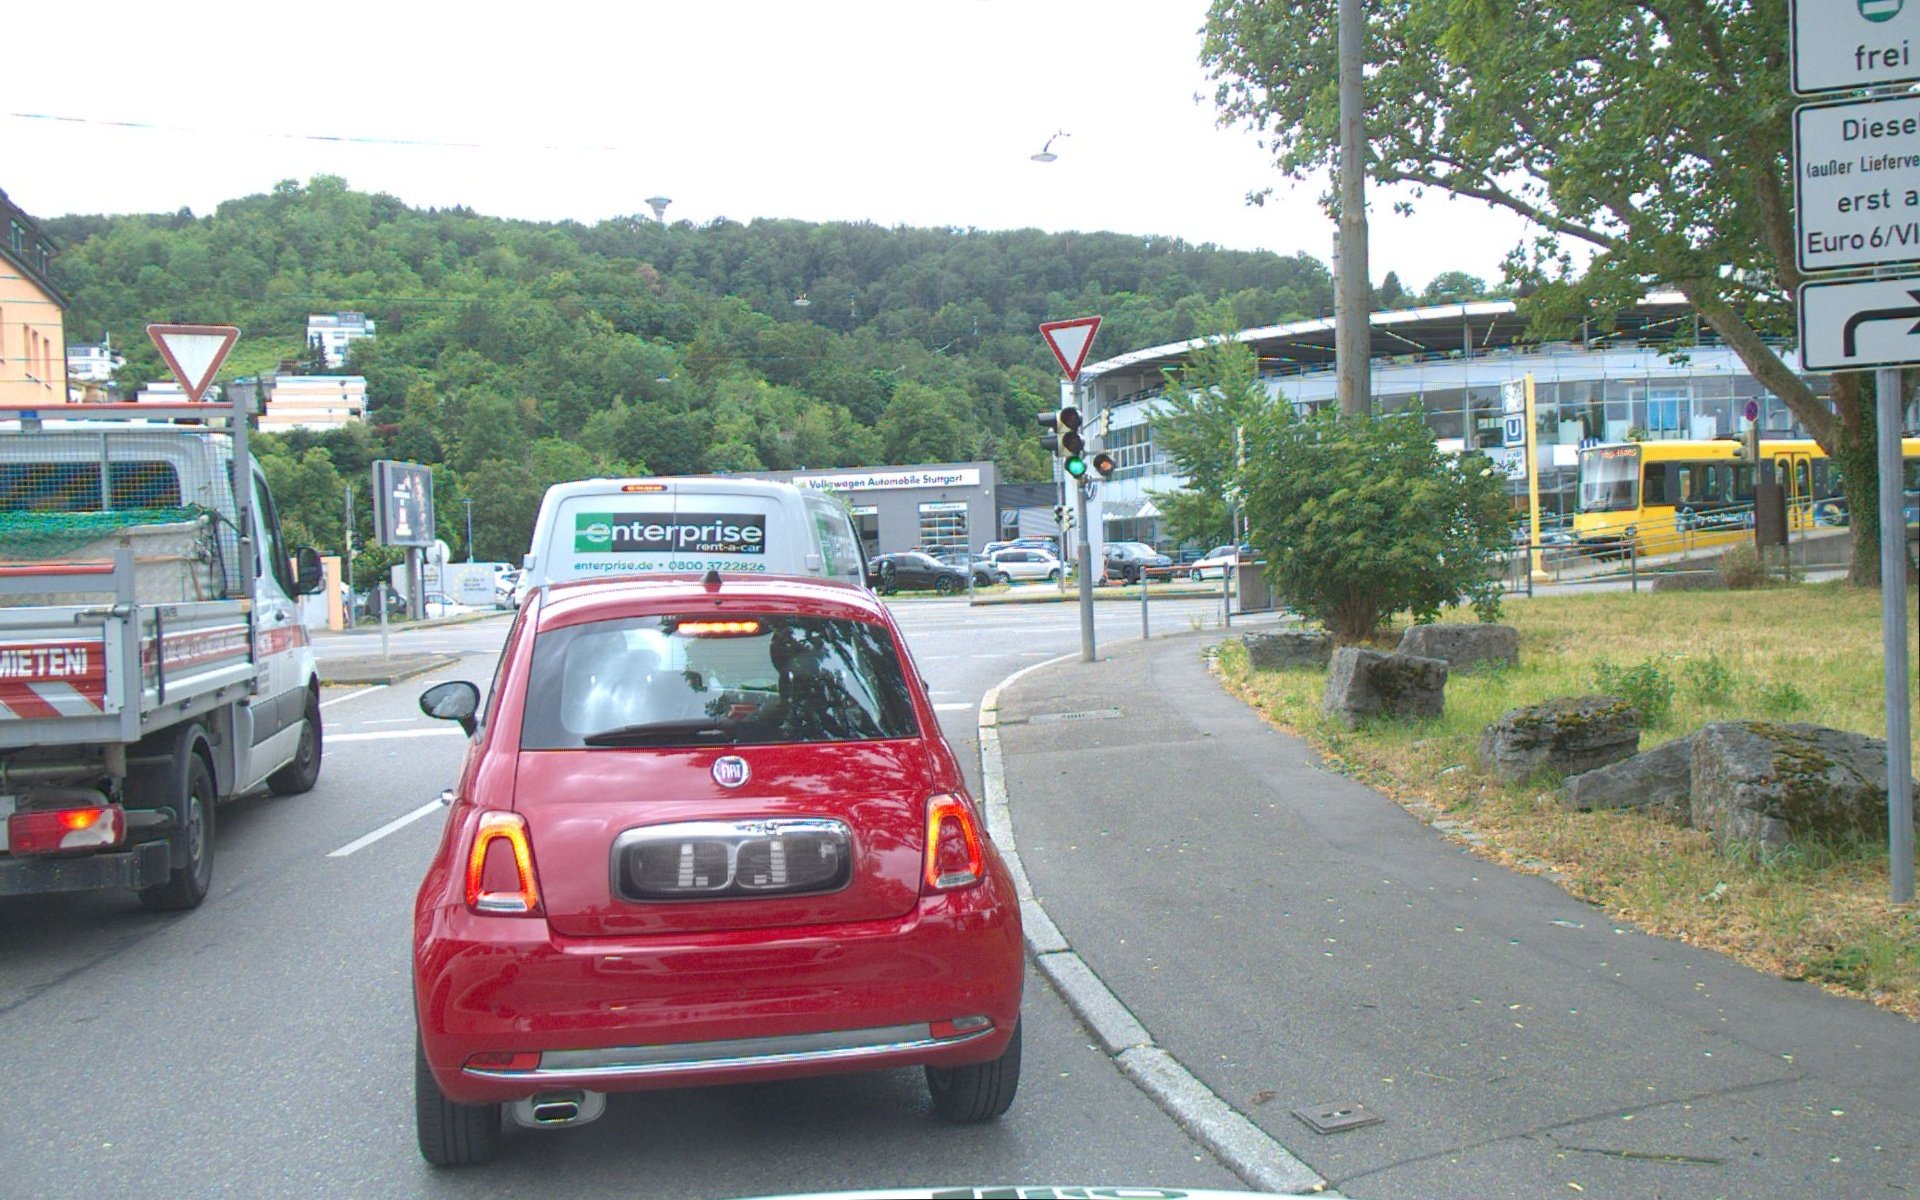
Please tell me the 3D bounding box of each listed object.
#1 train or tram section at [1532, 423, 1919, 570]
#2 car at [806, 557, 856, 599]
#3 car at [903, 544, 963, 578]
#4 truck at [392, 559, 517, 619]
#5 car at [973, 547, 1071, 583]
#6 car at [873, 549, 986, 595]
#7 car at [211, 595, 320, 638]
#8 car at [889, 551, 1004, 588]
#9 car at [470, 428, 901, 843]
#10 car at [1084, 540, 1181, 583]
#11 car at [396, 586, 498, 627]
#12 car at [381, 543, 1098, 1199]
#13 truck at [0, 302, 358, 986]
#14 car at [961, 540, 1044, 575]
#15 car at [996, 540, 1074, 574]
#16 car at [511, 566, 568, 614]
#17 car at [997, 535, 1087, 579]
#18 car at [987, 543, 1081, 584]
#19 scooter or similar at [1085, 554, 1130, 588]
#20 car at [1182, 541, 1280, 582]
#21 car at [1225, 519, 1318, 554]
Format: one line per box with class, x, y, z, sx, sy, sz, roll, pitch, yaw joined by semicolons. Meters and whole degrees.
train or tram section;25.253;-3.157;48.378;18.859;3.729;3.254;-3;2;-24
car;-6.127;-1.070;78.747;1.952;1.847;4.001;-2;2;1
car;-1.578;-2.355;99.558;1.954;1.847;3.997;-2;2;26
truck;-23.126;-0.520;75.697;5.127;2.434;1.981;-3;2;-29
car;3.061;-1.737;81.129;4.696;1.560;1.776;-2;1;2
car;-1.137;-1.035;61.368;3.787;1.526;1.777;-2;1;16
car;-29.453;0.673;70.279;4.146;1.560;1.763;-3;2;-23
car;-0.547;-1.299;70.579;4.572;1.351;1.777;-2;1;13
car;-1.566;0.129;11.298;1.948;2.143;4.763;-3;1;1
car;6.772;-1.502;65.225;1.754;1.526;3.837;-3;2;-33
car;-22.479;0.288;72.632;4.135;1.560;1.768;-3;2;-16
car;-0.808;0.605;5.506;1.610;1.482;3.421;-2;1;-12
truck;-4.837;0.162;8.655;2.381;2.439;6.008;-3;1;-14
car;2.476;-2.494;96.269;4.696;1.834;1.776;-2;1;2
car;4.590;-2.648;101.196;4.696;1.834;1.776;-2;1;2
car;-17.287;-0.456;68.138;1.826;1.849;4.393;-3;2;-9
car;4.424;-2.330;89.611;4.696;2.194;2.234;-2;1;2
car;3.763;-1.873;84.727;4.696;1.834;1.776;-2;1;2
scooter or similar;5.562;-1.108;62.391;1.633;1.198;0.468;-2;1;6
car;10.956;-1.545;67.027;1.753;1.526;3.979;-3;2;-31
car;15.055;-3.057;80.004;1.784;1.517;4.144;-4;2;-45
